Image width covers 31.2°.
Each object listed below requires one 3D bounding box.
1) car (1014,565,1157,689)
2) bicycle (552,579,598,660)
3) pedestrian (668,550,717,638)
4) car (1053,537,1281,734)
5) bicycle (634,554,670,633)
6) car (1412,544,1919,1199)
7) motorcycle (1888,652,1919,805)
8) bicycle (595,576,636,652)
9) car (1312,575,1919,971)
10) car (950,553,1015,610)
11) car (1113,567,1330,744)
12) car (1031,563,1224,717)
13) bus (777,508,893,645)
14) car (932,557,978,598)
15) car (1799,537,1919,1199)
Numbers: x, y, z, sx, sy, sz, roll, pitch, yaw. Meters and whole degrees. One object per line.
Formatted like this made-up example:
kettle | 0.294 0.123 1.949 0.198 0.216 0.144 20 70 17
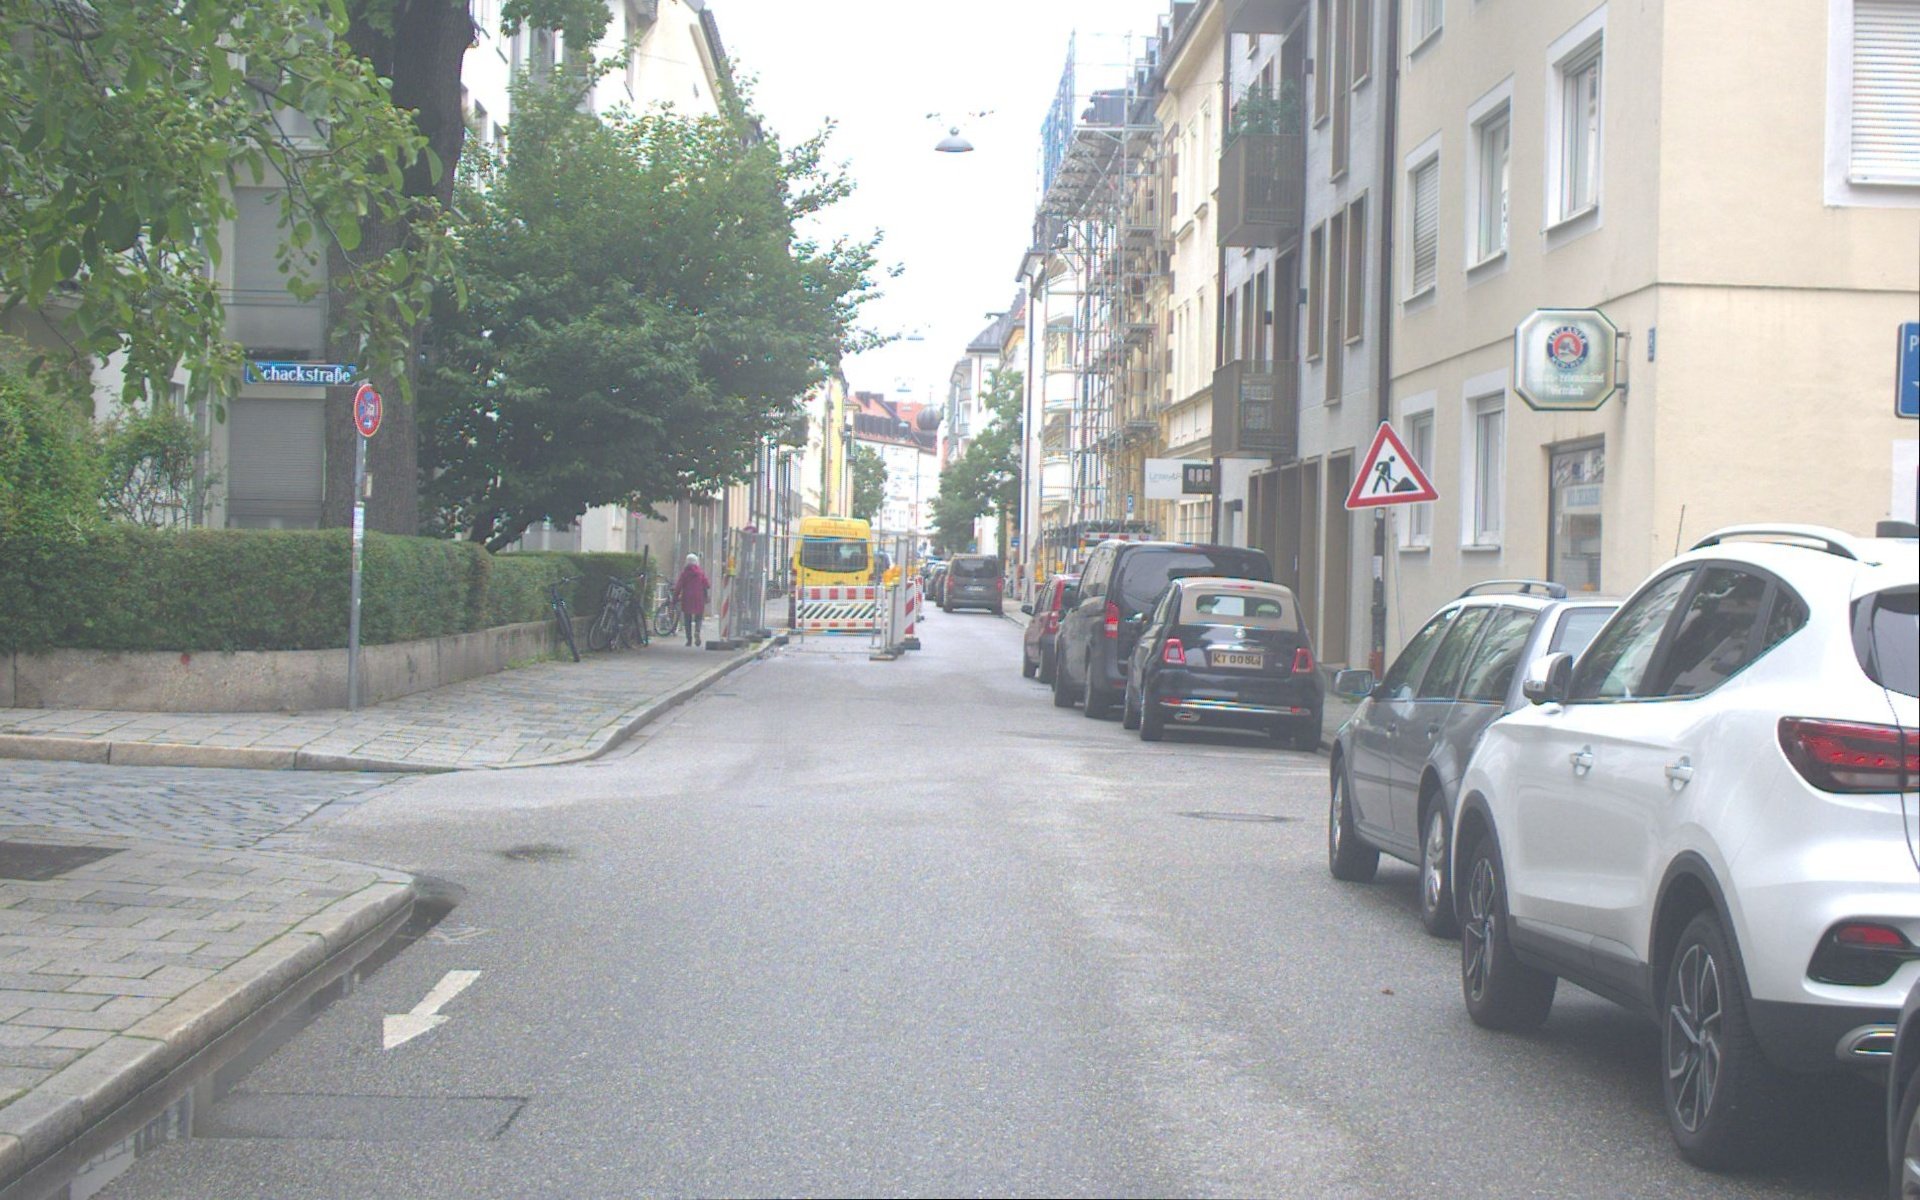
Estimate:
car | 1.722 0.344 48.258 1.635 1.509 3.829 5 1 -2
bicycle | -4.979 0.242 44.532 0.414 1.017 1.854 1 0 -1
pedestrian | -4.588 -0.097 58.980 0.756 1.486 0.831 1 0 -1
car | 2.126 0.324 36.378 1.801 1.814 4.001 5 1 -3
bicycle | -5.622 -0.119 62.867 0.514 1.413 1.934 1 0 -1
car | 2.592 0.676 9.961 1.748 1.624 4.197 1 1 -3
motorcycle | 7.731 0.972 24.808 0.621 1.104 1.927 2 1 -43
bicycle | -5.011 0.198 50.070 0.446 1.069 2.468 1 0 -3
car | 2.735 0.650 15.191 1.744 1.440 4.000 2 1 -2
car | 0.715 -0.635 114.118 1.801 1.706 3.827 5 1 -3
car | 2.377 0.470 32.020 1.624 1.482 3.808 2 1 -1
car | 1.918 0.425 40.472 1.801 1.562 4.000 5 1 -2
bus | -2.924 -0.550 82.072 2.592 3.091 6.306 1 0 -1
car | -0.214 -0.930 142.444 1.801 1.608 4.000 2 1 -1
car | 2.760 0.713 5.294 1.721 1.630 3.882 1 0 -4
